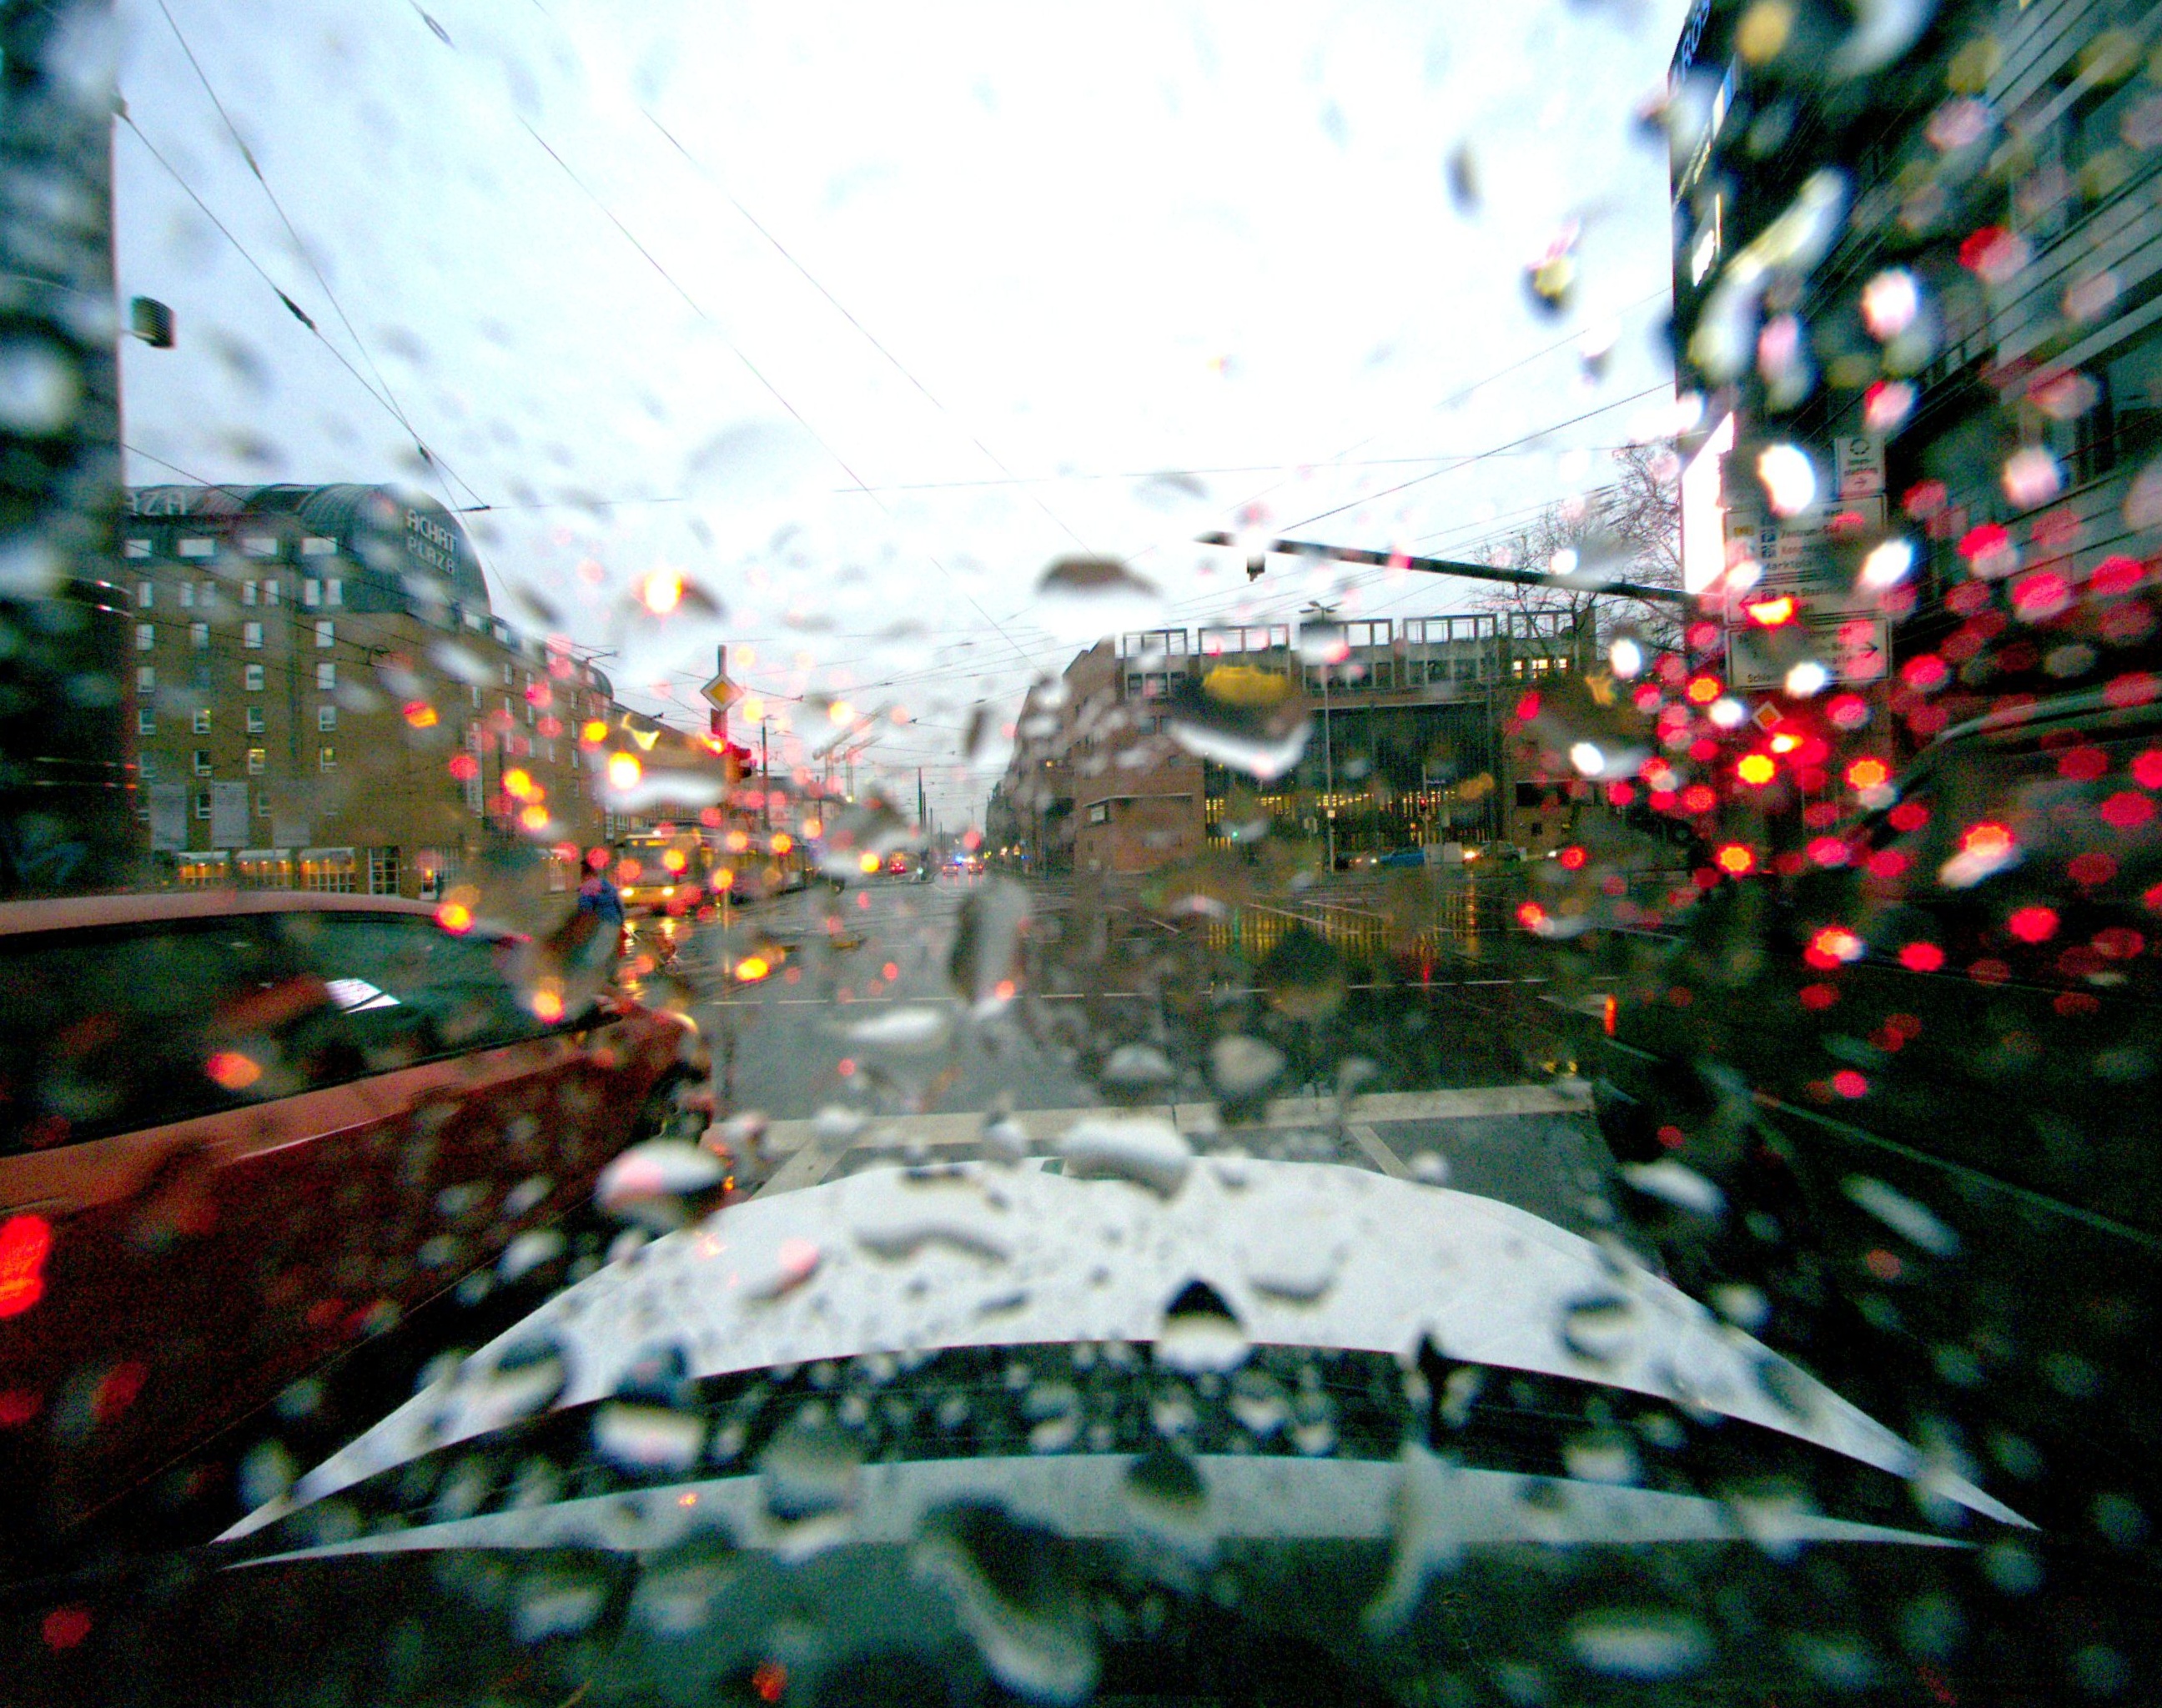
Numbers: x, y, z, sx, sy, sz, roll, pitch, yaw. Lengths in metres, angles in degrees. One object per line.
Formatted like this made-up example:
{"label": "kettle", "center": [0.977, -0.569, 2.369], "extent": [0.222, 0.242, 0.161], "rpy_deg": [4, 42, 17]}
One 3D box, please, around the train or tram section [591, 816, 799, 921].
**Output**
{"label": "train or tram section", "center": [-17.118, 0.578, 38.862], "extent": [2.862, 3.614, 20.016], "rpy_deg": [-2, 0, -8]}

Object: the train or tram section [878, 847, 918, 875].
{"label": "train or tram section", "center": [-26.274, 1.020, 118.609], "extent": [3.189, 3.436, 27.753], "rpy_deg": [-2, 0, -8]}

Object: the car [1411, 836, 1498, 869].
{"label": "car", "center": [20.449, -0.103, 44.715], "extent": [3.979, 1.504, 1.845], "rpy_deg": [-2, 4, -4]}

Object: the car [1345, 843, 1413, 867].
{"label": "car", "center": [19.155, 0.063, 52.416], "extent": [3.713, 1.263, 1.845], "rpy_deg": [-2, 4, -4]}

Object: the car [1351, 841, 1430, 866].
{"label": "car", "center": [18.326, -0.037, 48.346], "extent": [3.979, 1.263, 1.845], "rpy_deg": [-2, 4, -4]}

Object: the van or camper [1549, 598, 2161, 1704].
{"label": "van or camper", "center": [2.723, 0.507, 1.091], "extent": [1.750, 1.906, 4.420], "rpy_deg": [-1, 0, 2]}

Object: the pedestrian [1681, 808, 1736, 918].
{"label": "pedestrian", "center": [12.803, 0.185, 16.636], "extent": [0.574, 2.184, 0.619], "rpy_deg": [-1, -1, -4]}

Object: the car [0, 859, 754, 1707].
{"label": "car", "center": [-2.699, 0.785, 2.512], "extent": [1.691, 1.459, 3.759], "rpy_deg": [-2, 0, 2]}

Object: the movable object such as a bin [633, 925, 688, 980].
{"label": "movable object such as a bin", "center": [-5.864, 1.366, 11.363], "extent": [0.407, 0.699, 0.541], "rpy_deg": [-5, -2, 42]}

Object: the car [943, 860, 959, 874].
{"label": "car", "center": [-15.498, 1.547, 97.166], "extent": [1.869, 1.579, 3.989], "rpy_deg": [0, 0, -8]}

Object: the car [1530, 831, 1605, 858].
{"label": "car", "center": [32.169, -0.637, 53.905], "extent": [3.979, 1.504, 1.845], "rpy_deg": [-2, 4, -4]}

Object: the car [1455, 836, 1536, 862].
{"label": "car", "center": [24.833, -0.307, 48.904], "extent": [3.979, 1.288, 1.845], "rpy_deg": [-2, 4, -4]}

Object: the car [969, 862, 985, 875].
{"label": "car", "center": [-13.453, 1.909, 105.584], "extent": [1.868, 1.579, 3.991], "rpy_deg": [0, 0, -6]}

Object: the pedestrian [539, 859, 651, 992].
{"label": "pedestrian", "center": [-6.407, 0.912, 10.743], "extent": [0.707, 1.601, 1.043], "rpy_deg": [-5, -1, 43]}
